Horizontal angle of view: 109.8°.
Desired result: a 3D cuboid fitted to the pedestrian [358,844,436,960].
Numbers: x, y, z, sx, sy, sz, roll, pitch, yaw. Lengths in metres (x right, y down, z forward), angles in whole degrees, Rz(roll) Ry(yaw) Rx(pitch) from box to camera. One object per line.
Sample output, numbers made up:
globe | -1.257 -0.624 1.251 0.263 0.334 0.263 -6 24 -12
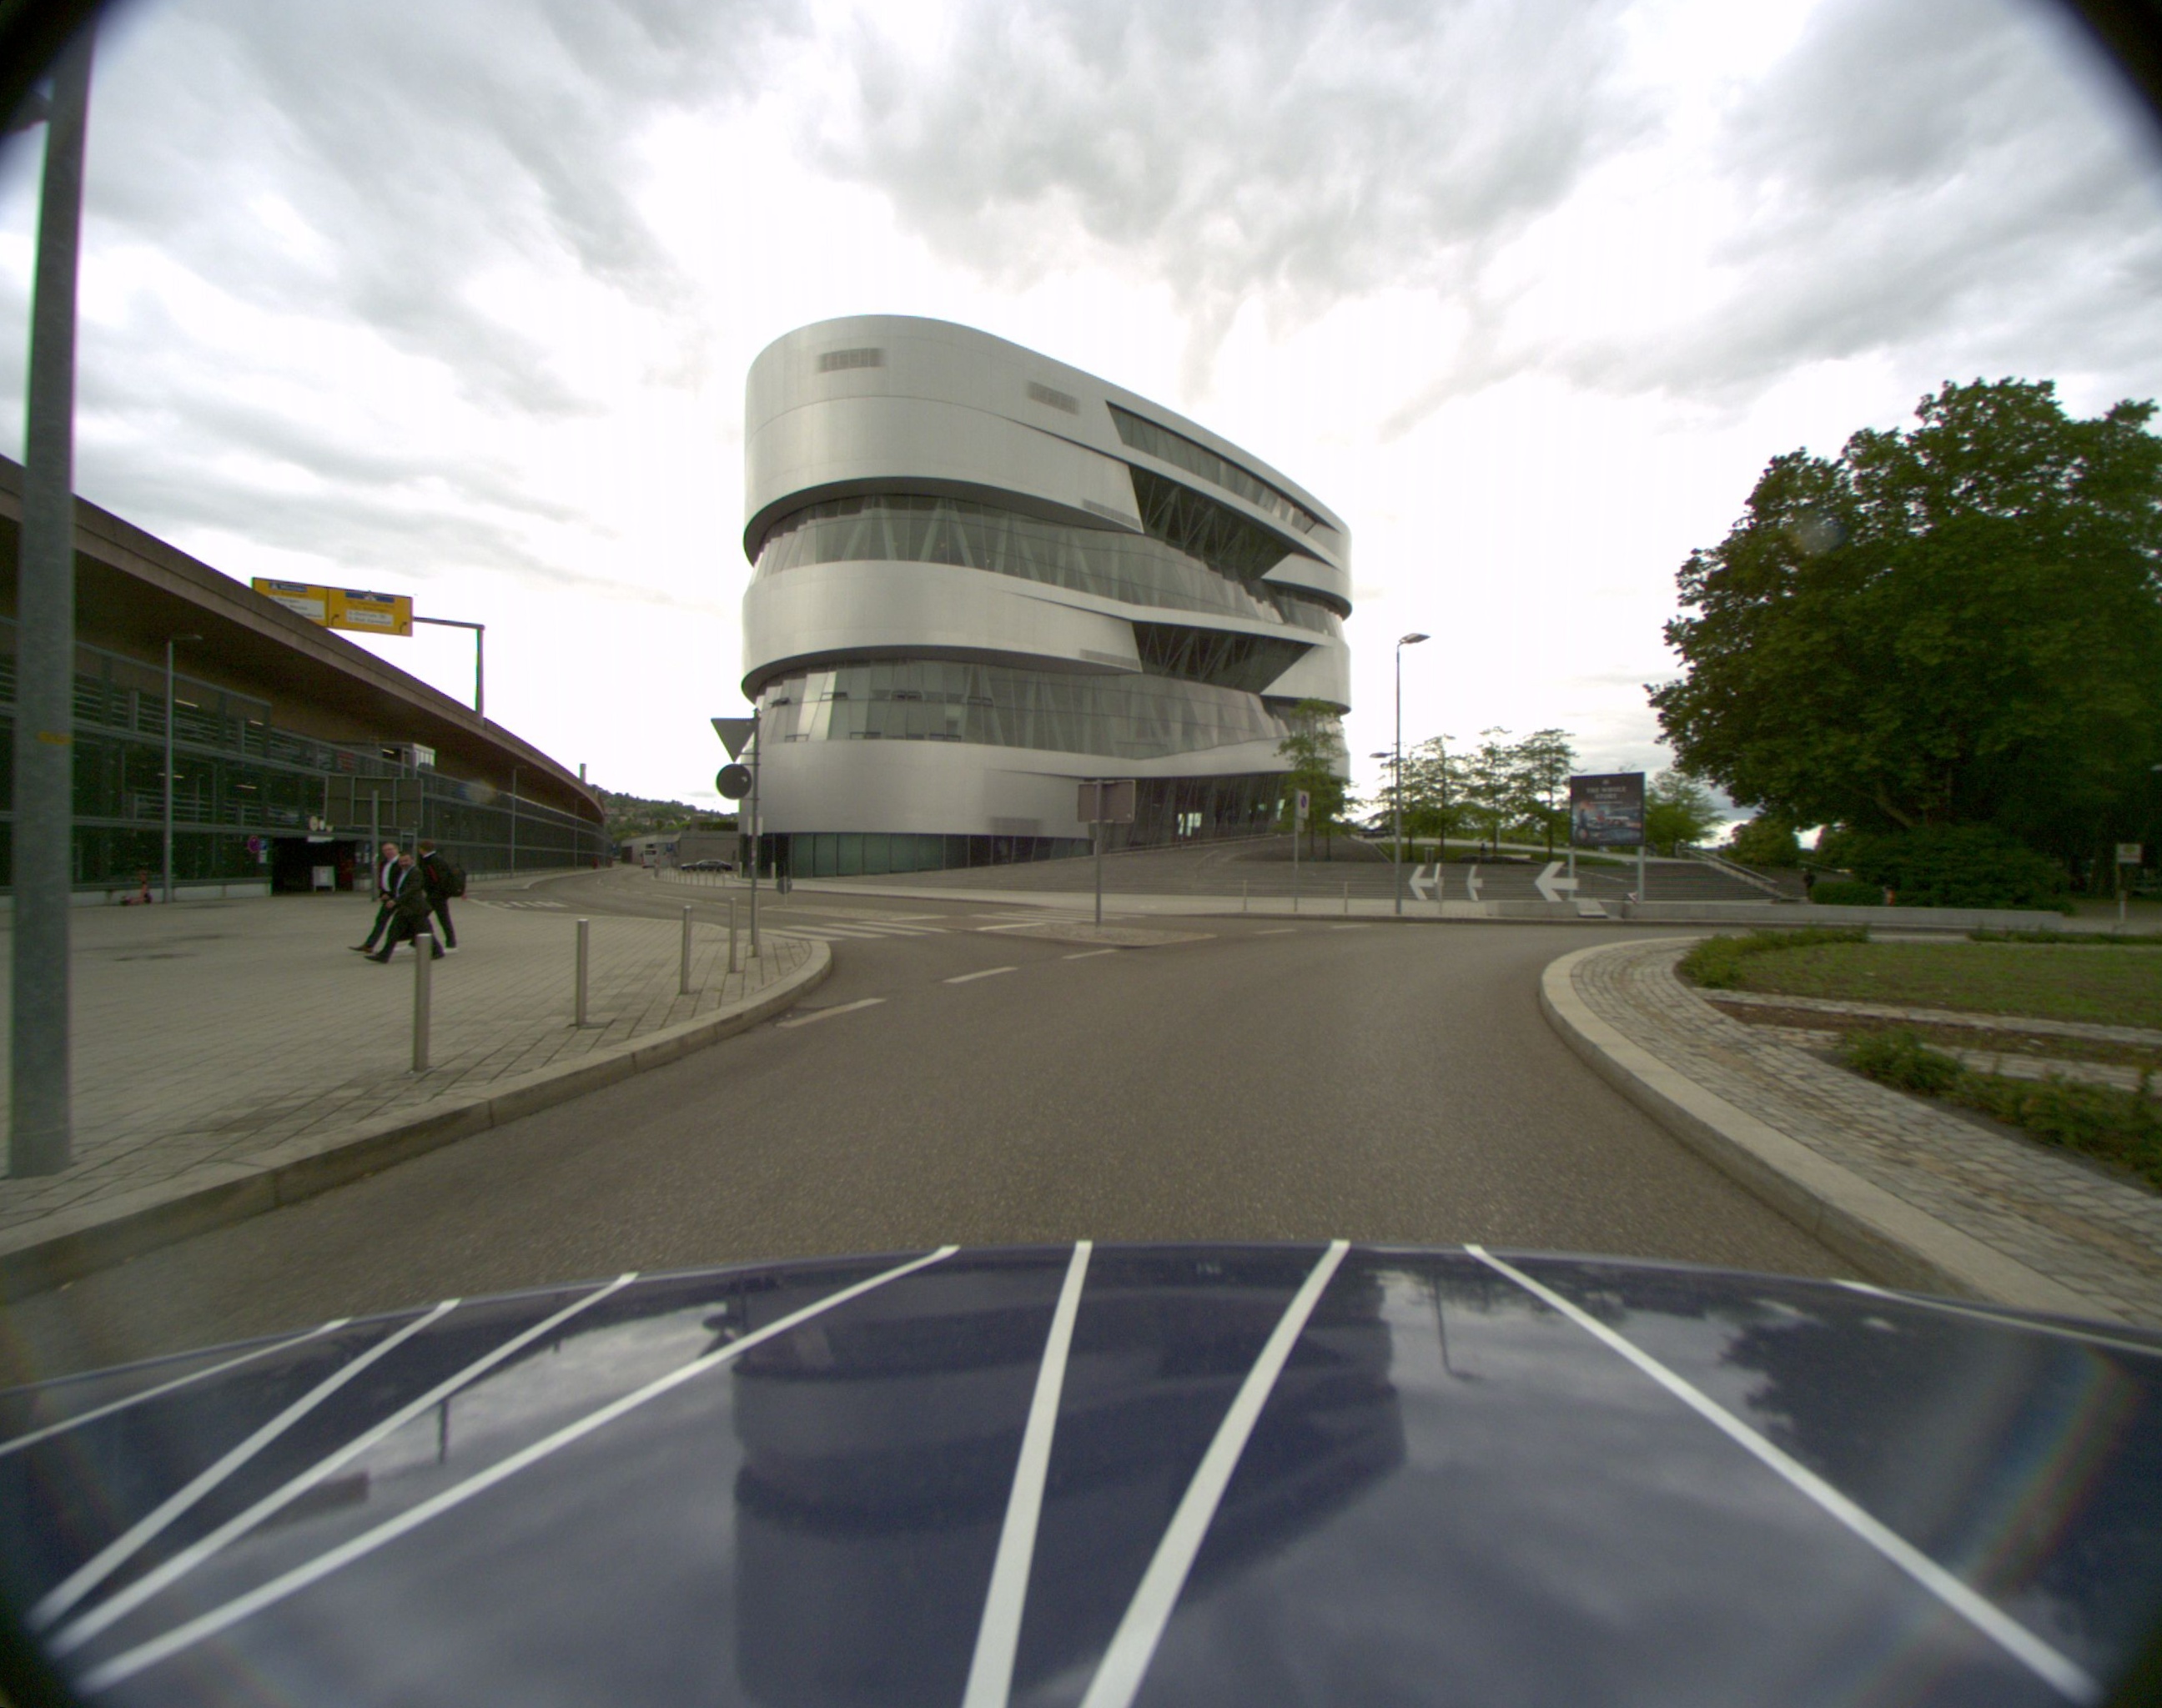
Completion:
pedestrian | -11.022 0.758 12.281 0.785 1.787 0.863 1 -1 -34

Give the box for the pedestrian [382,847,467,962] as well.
pedestrian | -10.142 0.760 11.748 0.785 1.695 0.774 0 -1 33

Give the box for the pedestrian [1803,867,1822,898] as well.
pedestrian | 42.002 1.645 43.620 0.594 1.751 0.555 1 -1 5

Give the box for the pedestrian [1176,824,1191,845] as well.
pedestrian | 9.880 -1.902 73.305 0.954 1.914 0.850 -4 2 -36

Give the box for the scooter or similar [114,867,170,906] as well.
scooter or similar | -27.225 0.930 22.052 0.381 1.116 1.425 1 -1 -23

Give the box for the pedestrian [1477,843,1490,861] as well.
pedestrian | 31.351 -0.156 59.147 0.789 1.379 0.684 0 -1 20

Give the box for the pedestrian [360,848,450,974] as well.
pedestrian | -9.617 0.784 10.812 0.863 1.695 0.774 0 -1 38

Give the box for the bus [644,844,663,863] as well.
bus | -80.120 -0.088 142.551 2.937 3.420 6.952 1 -1 -29

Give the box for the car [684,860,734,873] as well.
car | -41.927 1.401 85.720 4.914 1.390 1.532 1 -1 -26
